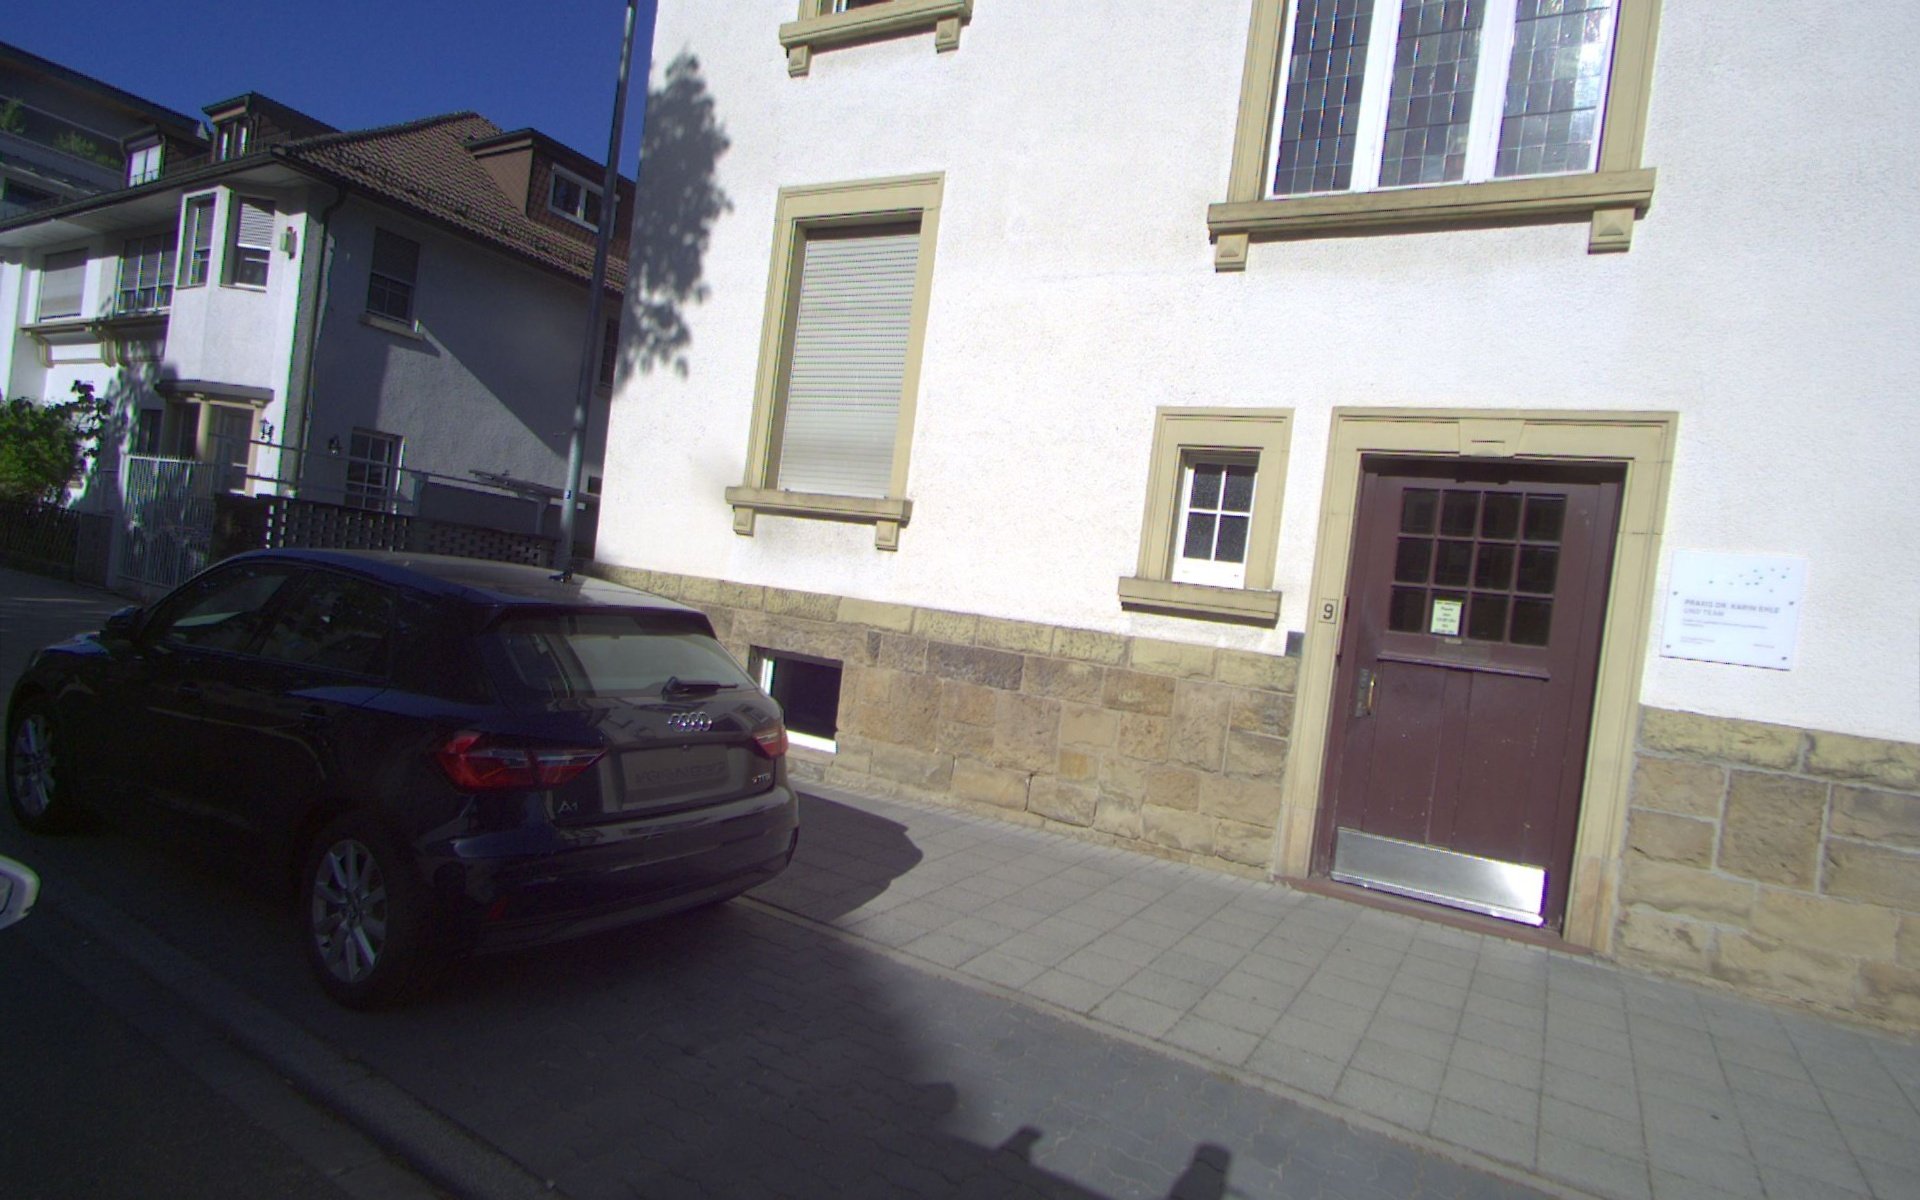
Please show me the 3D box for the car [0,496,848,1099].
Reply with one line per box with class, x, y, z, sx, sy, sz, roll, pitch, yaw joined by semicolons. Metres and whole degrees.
car;-2.594;0.473;4.418;3.868;1.459;1.621;7;2;30
